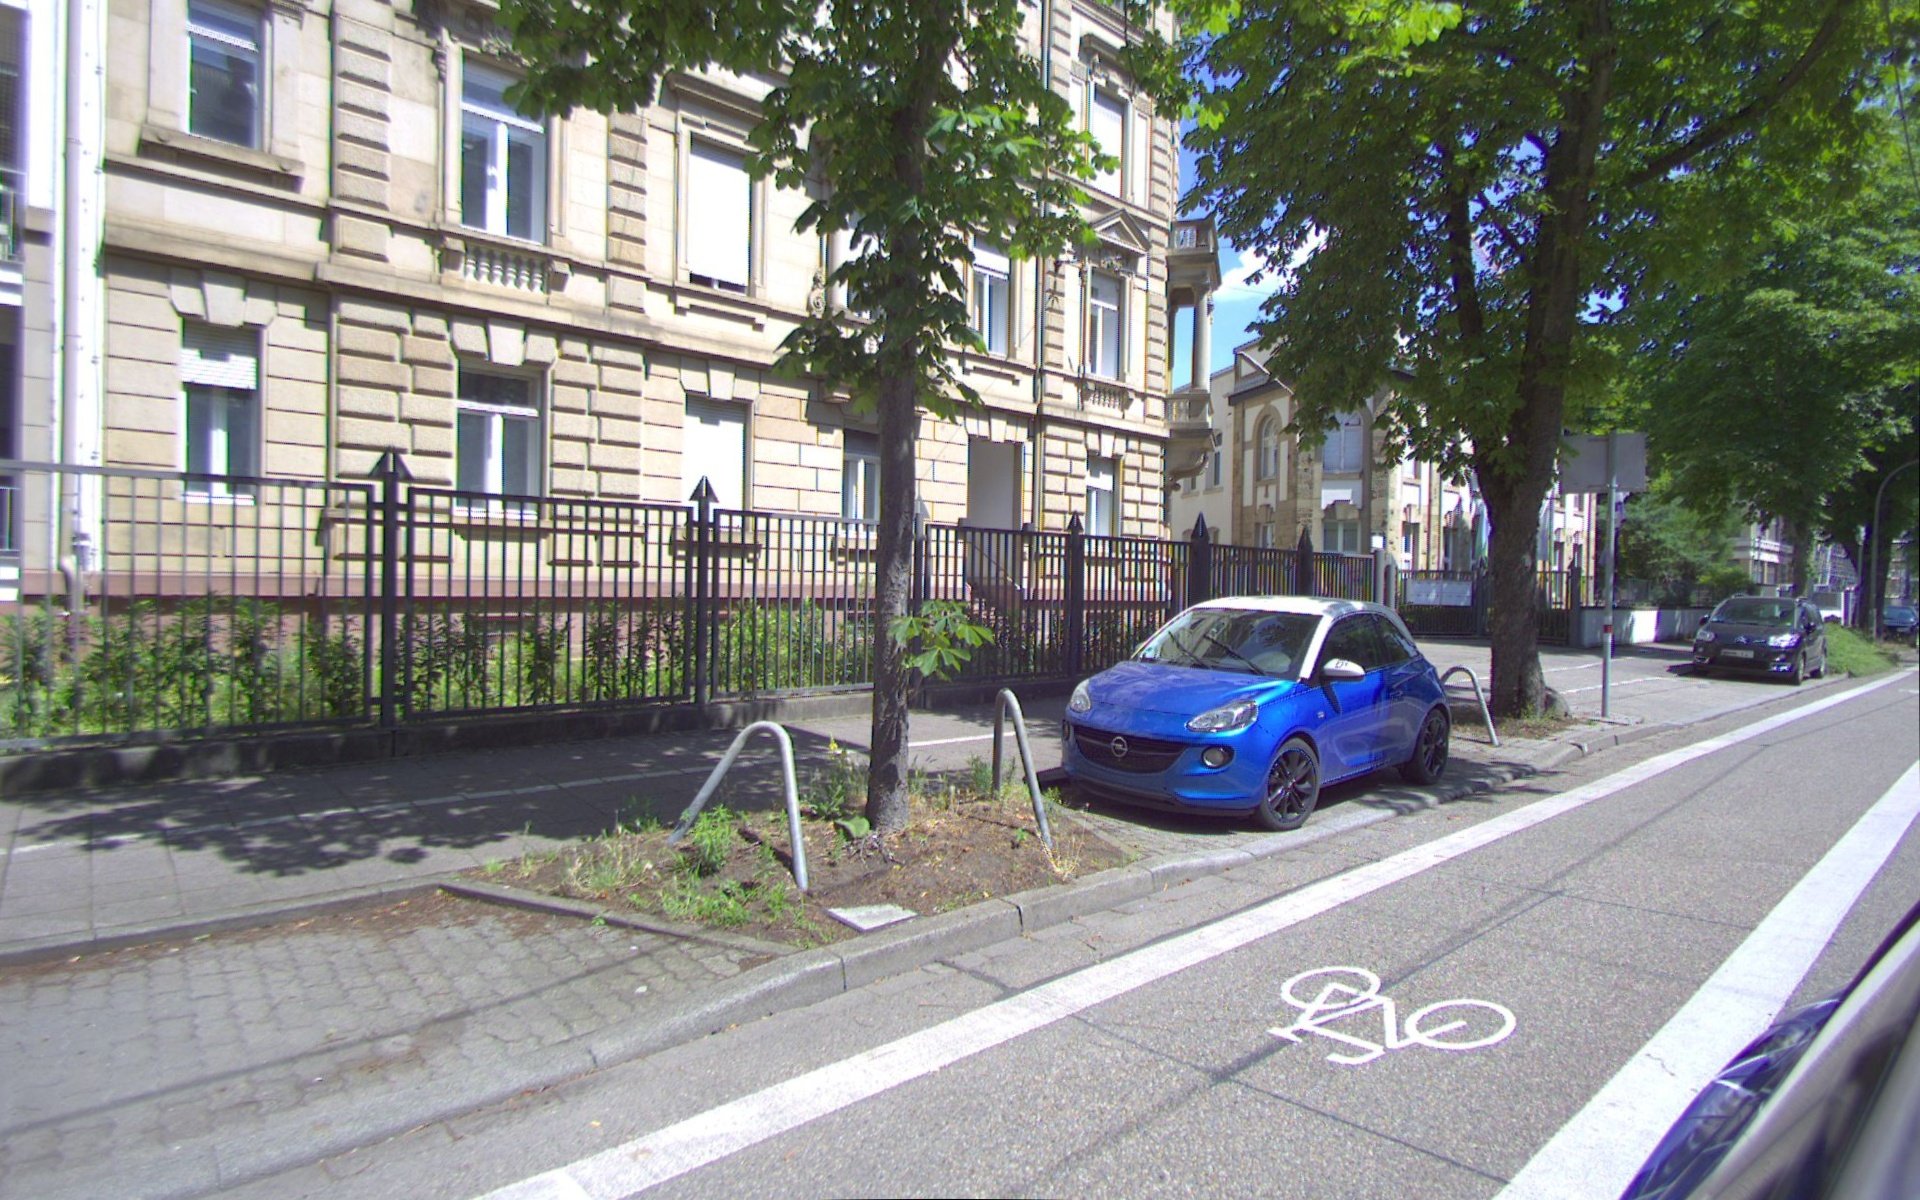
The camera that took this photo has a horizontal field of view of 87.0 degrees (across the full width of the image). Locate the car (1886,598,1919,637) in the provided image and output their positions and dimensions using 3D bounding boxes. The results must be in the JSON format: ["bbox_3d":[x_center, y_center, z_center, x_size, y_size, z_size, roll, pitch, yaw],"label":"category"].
[{"bbox_3d":[37.068,0.673,38.999,3.931,1.420,1.625,0,3,-42],"label":"car"}]

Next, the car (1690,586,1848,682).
[{"bbox_3d":[16.227,0.610,20.239,4.013,1.636,1.733,0,3,-42],"label":"car"}]

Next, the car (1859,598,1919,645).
[{"bbox_3d":[32.099,0.696,34.554,3.757,1.420,1.625,0,3,-42],"label":"car"}]

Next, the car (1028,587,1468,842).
[{"bbox_3d":[2.317,0.664,7.740,3.415,1.471,1.693,0,1,-43],"label":"car"}]

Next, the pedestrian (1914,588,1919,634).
[{"bbox_3d":[39.499,0.450,41.206,0.724,1.873,0.648,1,1,-15],"label":"pedestrian"}]

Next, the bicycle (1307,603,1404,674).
[{"bbox_3d":[6.504,0.600,16.593,1.945,1.084,0.609,0,1,-40],"label":"bicycle"}]
